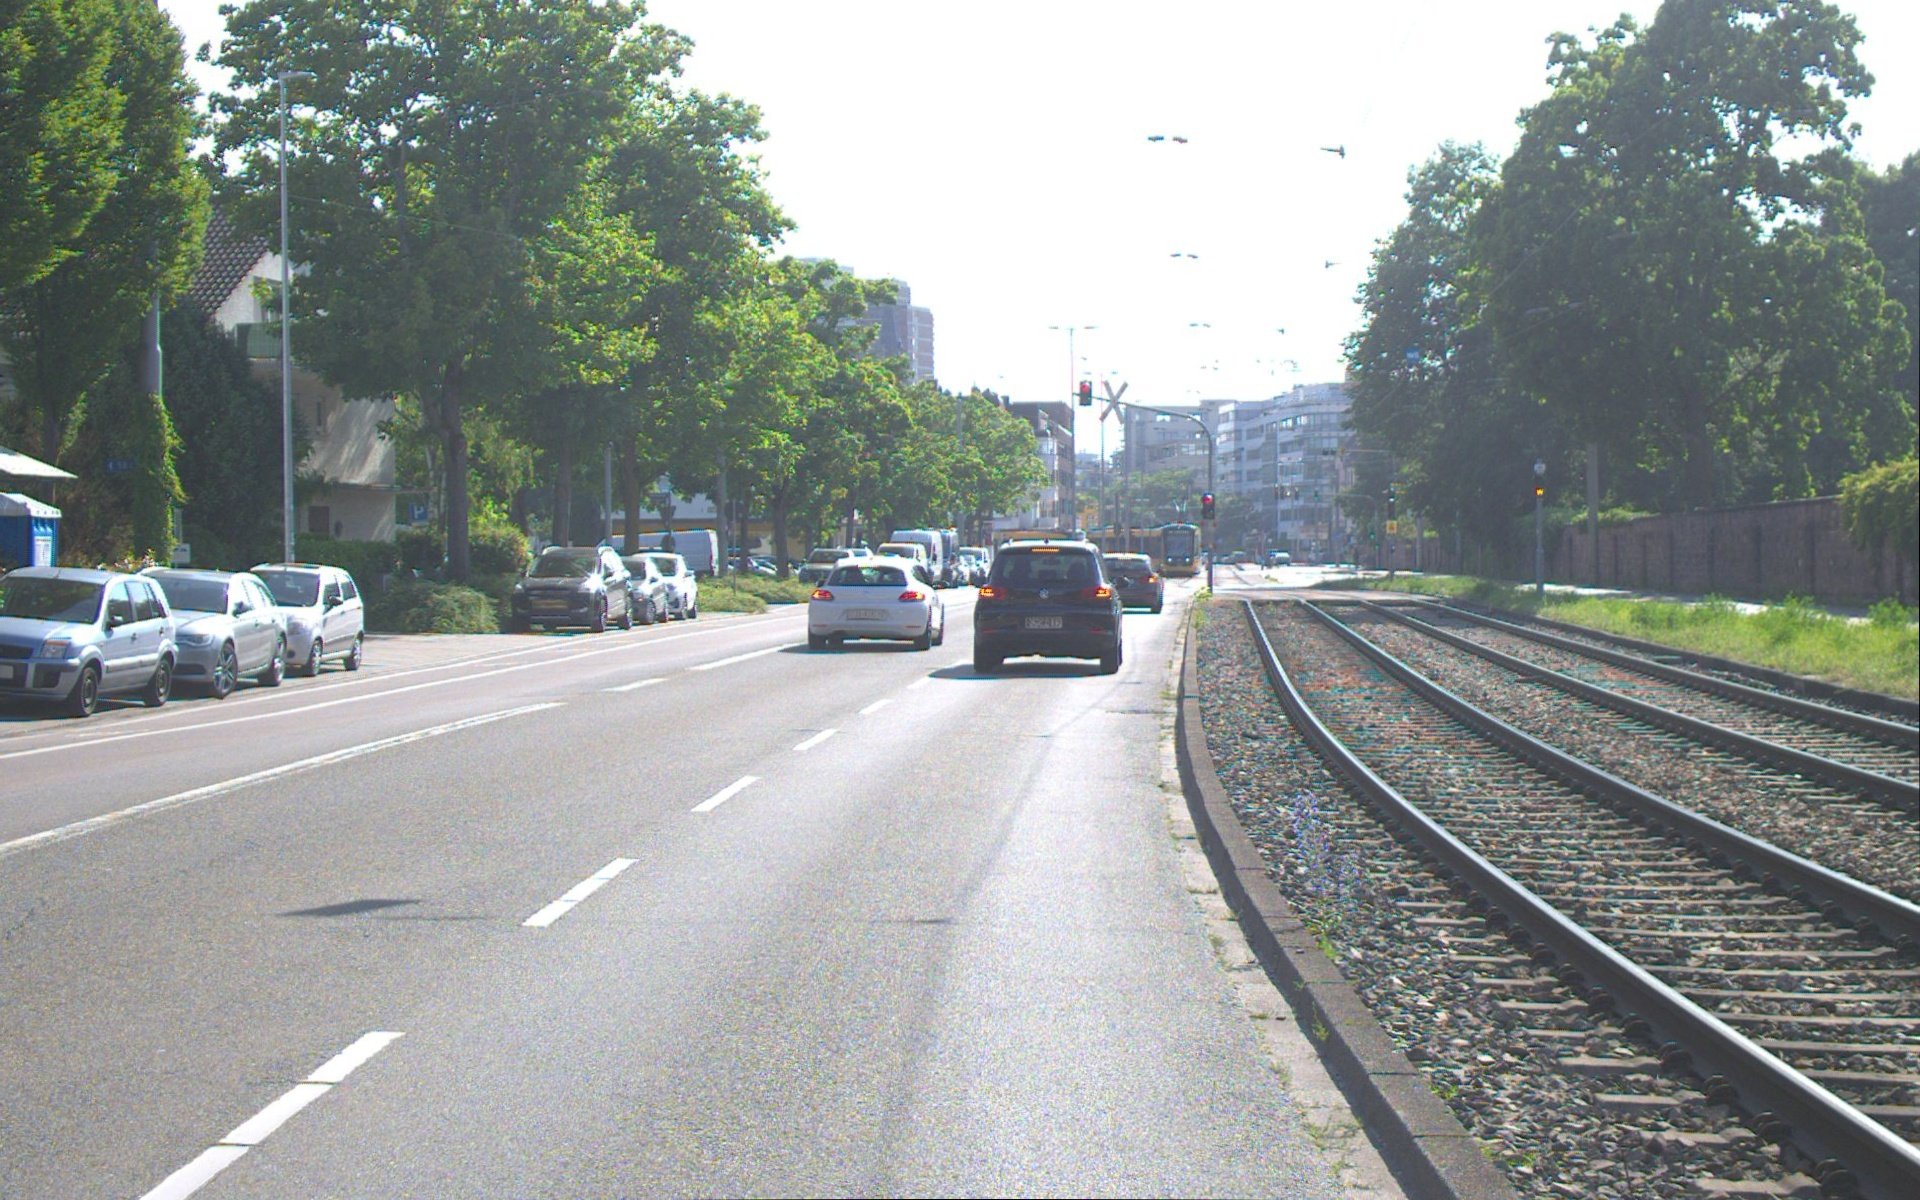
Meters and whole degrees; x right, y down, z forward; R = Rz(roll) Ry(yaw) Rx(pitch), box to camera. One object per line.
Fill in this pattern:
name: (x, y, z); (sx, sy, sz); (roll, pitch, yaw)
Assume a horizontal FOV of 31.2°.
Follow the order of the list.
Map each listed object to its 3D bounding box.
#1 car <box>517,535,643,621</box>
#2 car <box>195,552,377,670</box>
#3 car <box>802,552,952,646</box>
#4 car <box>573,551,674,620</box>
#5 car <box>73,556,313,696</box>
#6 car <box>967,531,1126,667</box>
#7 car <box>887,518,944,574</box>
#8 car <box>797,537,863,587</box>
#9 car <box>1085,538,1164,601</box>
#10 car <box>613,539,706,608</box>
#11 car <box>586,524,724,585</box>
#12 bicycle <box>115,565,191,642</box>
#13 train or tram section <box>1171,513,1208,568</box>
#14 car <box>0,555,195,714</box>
car: (-7.685, -0.466, 69.868); (1.712, 1.688, 4.421); (0, 1, 5)
car: (-9.457, 0.126, 48.462); (1.601, 1.489, 3.509); (4, 1, 4)
car: (-1.209, -0.040, 52.007); (1.865, 1.343, 4.000); (0, 1, 5)
car: (-7.369, -0.334, 75.567); (1.677, 1.463, 3.968); (0, 1, 2)
car: (-9.559, 0.278, 43.234); (1.749, 1.505, 4.755); (4, 1, 1)
car: (1.148, -0.040, 43.969); (1.811, 1.639, 3.999); (1, 1, 5)
car: (-1.912, -2.323, 148.126); (1.864, 2.339, 4.984); (-1, 1, 6)
car: (-4.466, -1.326, 118.395); (1.732, 1.652, 3.999); (-1, 1, 6)
car: (4.022, -0.754, 83.659); (1.811, 1.444, 4.000); (1, 1, 4)
car: (-7.085, -0.653, 81.304); (1.601, 1.545, 3.894); (1, 1, 3)
car: (-12.607, -1.890, 142.152); (5.376, 2.415, 2.087); (-1, 1, 5)
bicycle: (-12.248, 0.050, 52.215); (0.443, 1.150, 1.784); (0, 0, 11)
train or tram section: (15.238, -3.948, 227.621); (2.327, 3.558, 8.899); (-1, 1, 5)
car: (-10.006, 0.338, 38.163); (1.763, 1.533, 3.981); (4, 1, 4)
